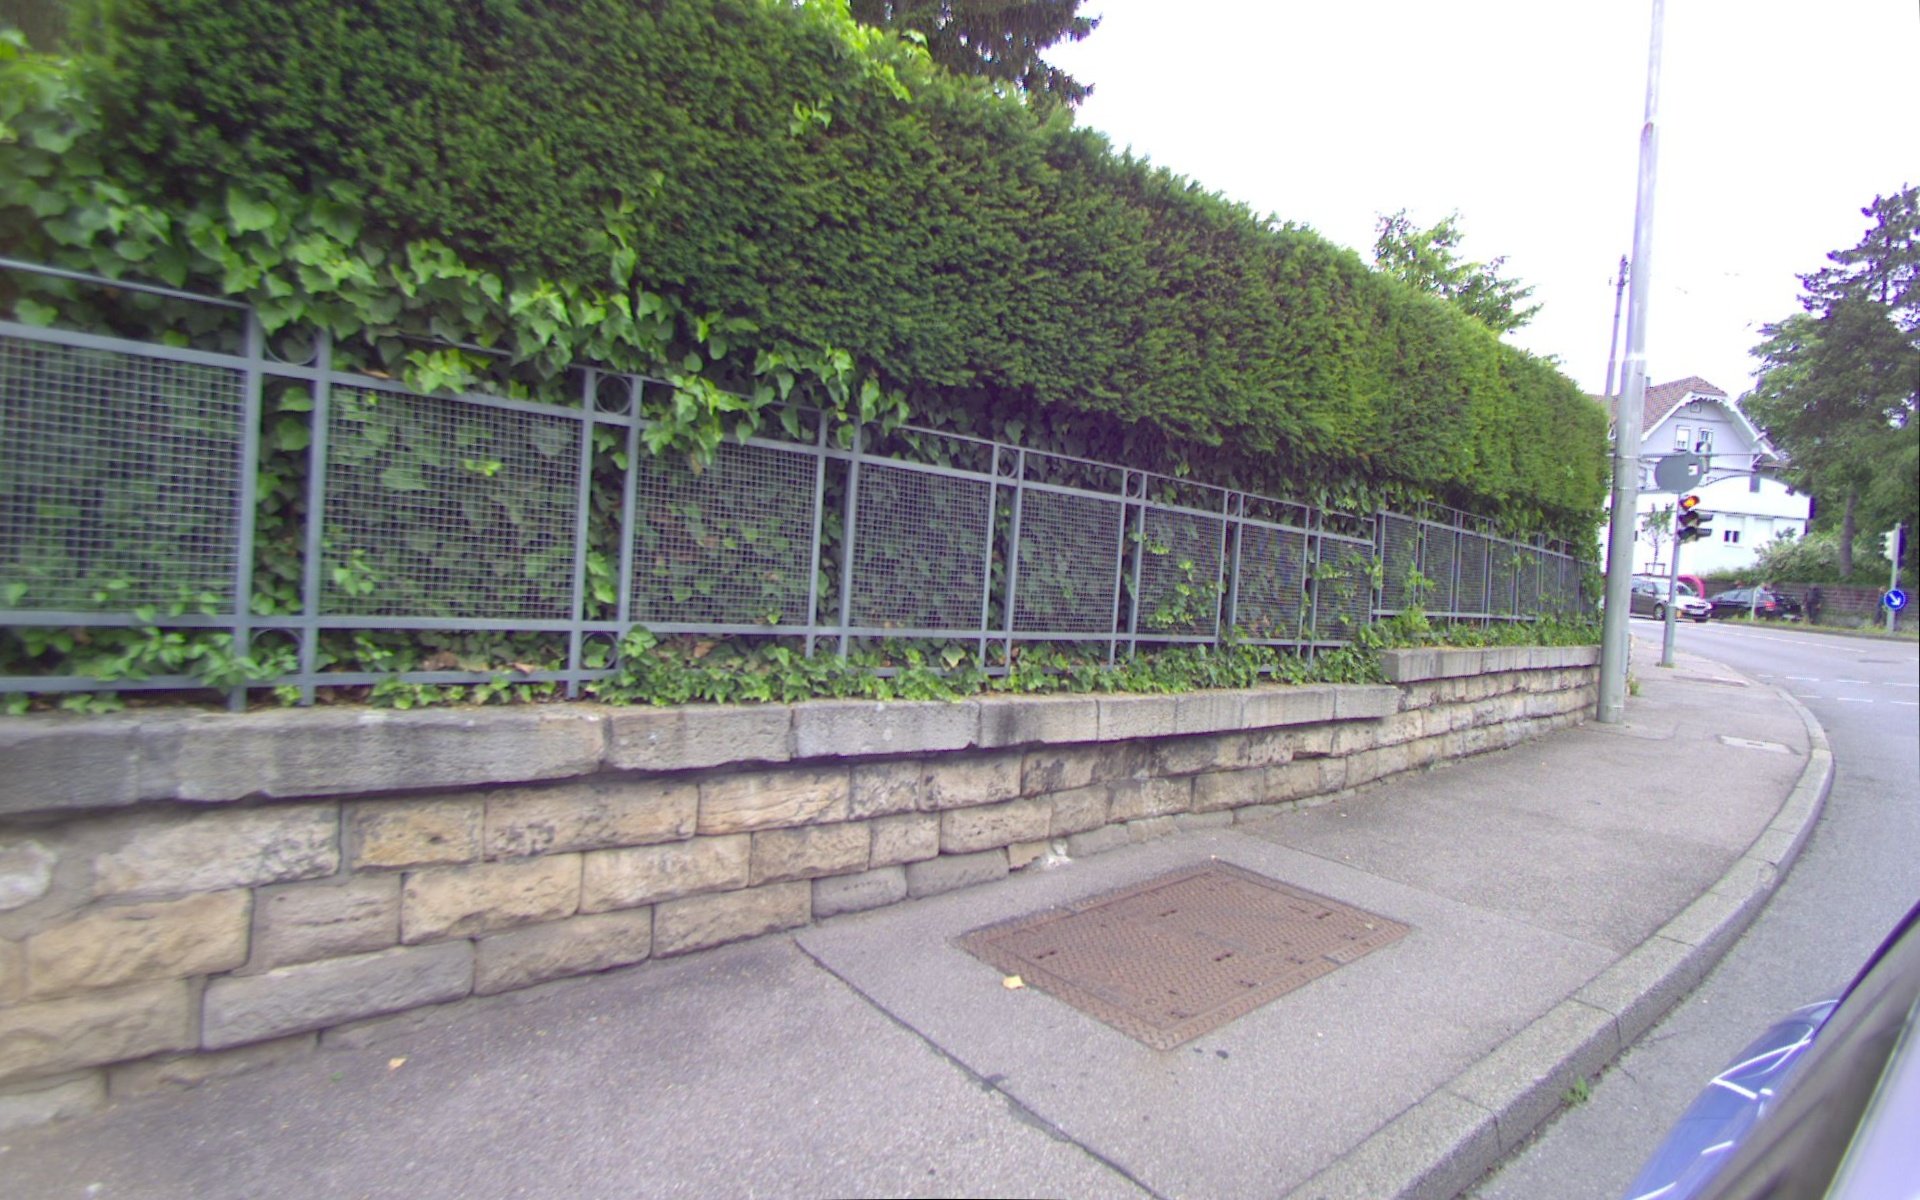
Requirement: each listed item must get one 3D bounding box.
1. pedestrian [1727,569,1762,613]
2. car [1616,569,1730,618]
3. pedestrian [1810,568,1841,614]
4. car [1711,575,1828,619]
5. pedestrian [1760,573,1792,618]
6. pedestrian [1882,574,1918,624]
[{"bbox_3d":[34.342,-0.409,44.307,0.862,1.836,0.690,3,3,-12],"label":"pedestrian"},{"bbox_3d":[26.784,-0.297,38.188,1.589,1.599,3.998,2,3,5],"label":"car"},{"bbox_3d":[36.241,-0.373,42.384,0.591,1.856,0.614,3,3,-14],"label":"pedestrian"},{"bbox_3d":[32.358,-0.168,40.608,1.738,1.425,3.994,4,4,8],"label":"car"},{"bbox_3d":[34.478,-0.201,42.776,0.600,1.809,0.668,3,3,-12],"label":"pedestrian"},{"bbox_3d":[36.803,-0.038,39.621,0.664,1.856,0.614,3,3,-14],"label":"pedestrian"}]
